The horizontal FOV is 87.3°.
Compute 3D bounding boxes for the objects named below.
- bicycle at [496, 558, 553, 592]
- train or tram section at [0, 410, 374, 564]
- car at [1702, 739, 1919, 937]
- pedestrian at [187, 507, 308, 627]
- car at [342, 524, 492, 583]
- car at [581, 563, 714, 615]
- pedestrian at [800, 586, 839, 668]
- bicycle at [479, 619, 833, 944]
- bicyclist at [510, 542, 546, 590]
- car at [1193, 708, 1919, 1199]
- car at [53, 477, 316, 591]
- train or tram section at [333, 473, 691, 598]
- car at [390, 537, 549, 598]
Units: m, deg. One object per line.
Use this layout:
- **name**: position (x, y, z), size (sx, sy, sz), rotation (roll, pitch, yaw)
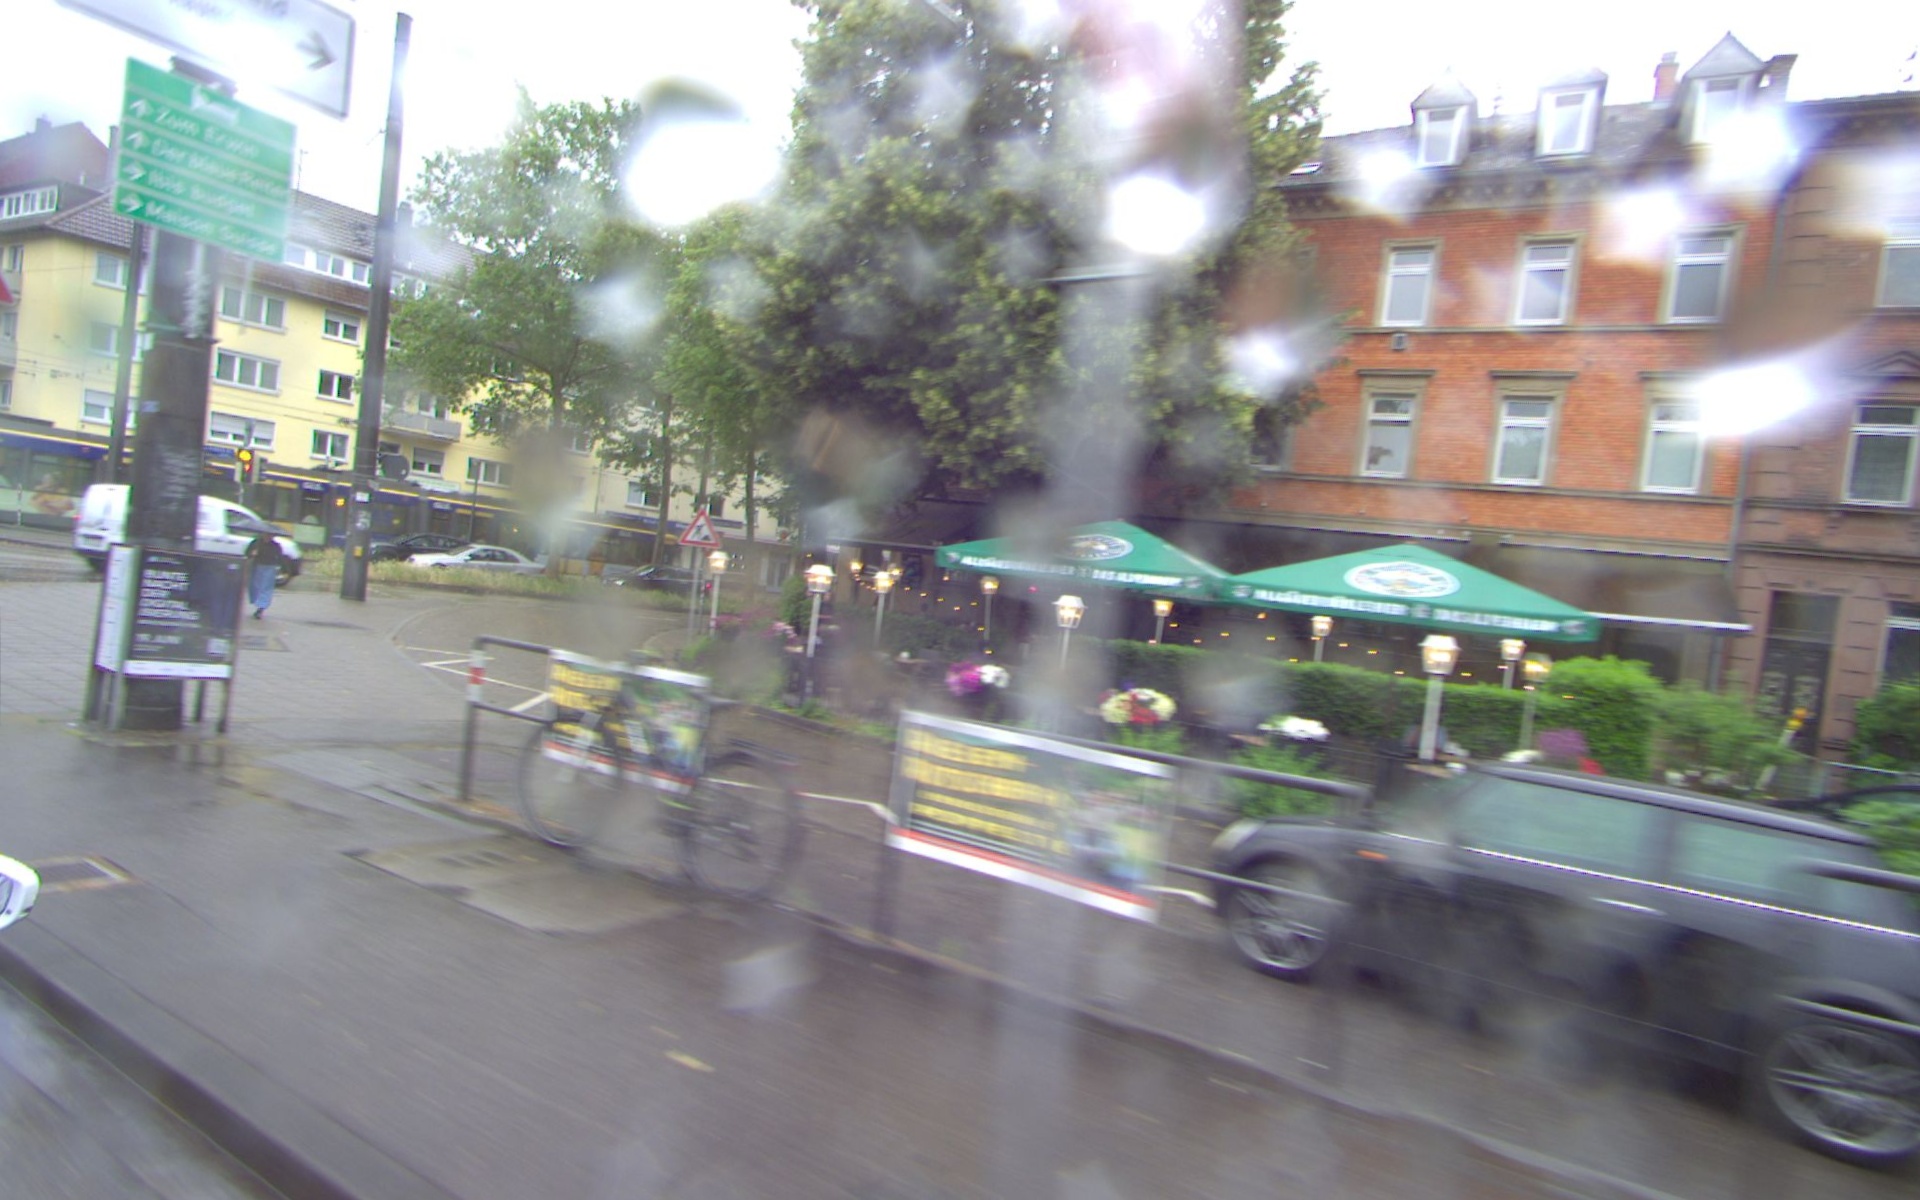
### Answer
- **bicycle**: position (-16.917, -0.973, 39.142), size (0.709, 1.044, 1.808), rotation (8, 0, 41)
- **train or tram section**: position (-28.356, -3.855, 34.295), size (3.064, 3.602, 14.545), rotation (8, 0, 31)
- **car**: position (9.983, 2.538, 10.010), size (1.828, 1.526, 3.996), rotation (8, 0, -6)
- **pedestrian**: position (-11.197, -0.511, 15.863), size (1.088, 1.687, 0.995), rotation (8, 1, -13)
- **car**: position (-19.397, -1.635, 36.050), size (1.852, 1.521, 4.265), rotation (8, 1, 40)
- **car**: position (-12.345, -0.415, 39.940), size (1.838, 1.504, 4.613), rotation (9, 1, 44)
- **pedestrian**: position (-2.935, 0.561, 21.077), size (0.382, 1.667, 0.549), rotation (8, 3, 32)
- **bicycle**: position (-1.538, 0.811, 4.953), size (1.762, 1.182, 0.423), rotation (8, -1, 29)
- **bicyclist**: position (-16.826, -1.326, 39.186), size (0.704, 1.737, 0.886), rotation (8, 0, 41)
- **car**: position (3.308, 1.645, 5.521), size (3.459, 1.518, 1.649), rotation (8, 0, 33)
- **car**: position (-16.522, -1.317, 21.742), size (1.873, 1.819, 4.116), rotation (8, 0, 12)
- **train or tram section**: position (-19.631, -2.670, 45.770), size (3.074, 3.602, 14.596), rotation (8, 1, 43)
- **car**: position (-16.741, -1.081, 34.495), size (1.717, 1.508, 4.474), rotation (9, 1, 44)
